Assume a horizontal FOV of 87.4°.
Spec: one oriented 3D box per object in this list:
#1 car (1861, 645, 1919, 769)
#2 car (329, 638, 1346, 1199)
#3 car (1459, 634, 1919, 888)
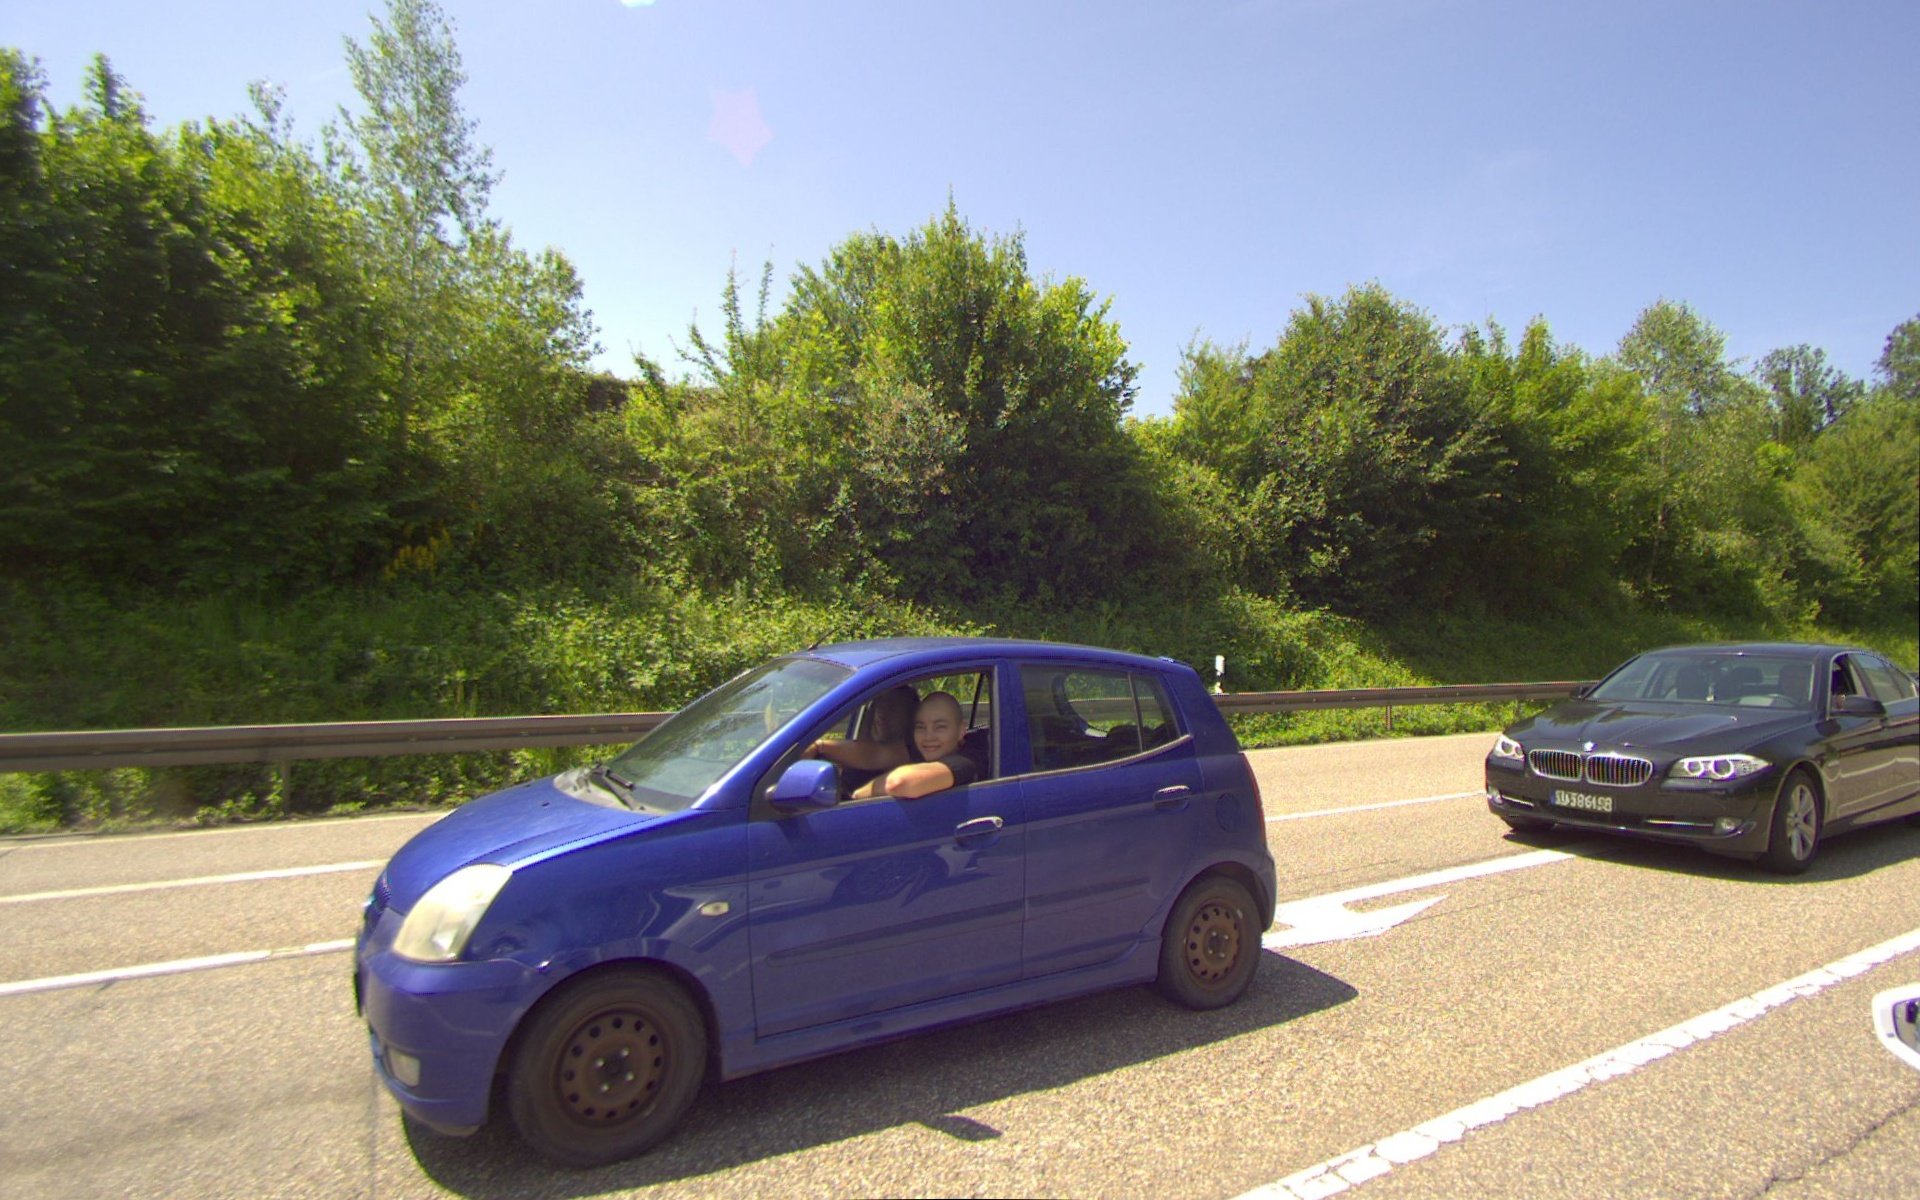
[{"bbox_3d":[13.113,1.286,12.584,4.136,1.433,1.672,1,-2,-33],"label":"car"},{"bbox_3d":[-0.315,0.893,4.067,3.727,1.459,1.559,1,-2,-31],"label":"car"},{"bbox_3d":[6.041,1.008,7.847,4.591,1.466,1.771,1,-3,-33],"label":"car"}]
